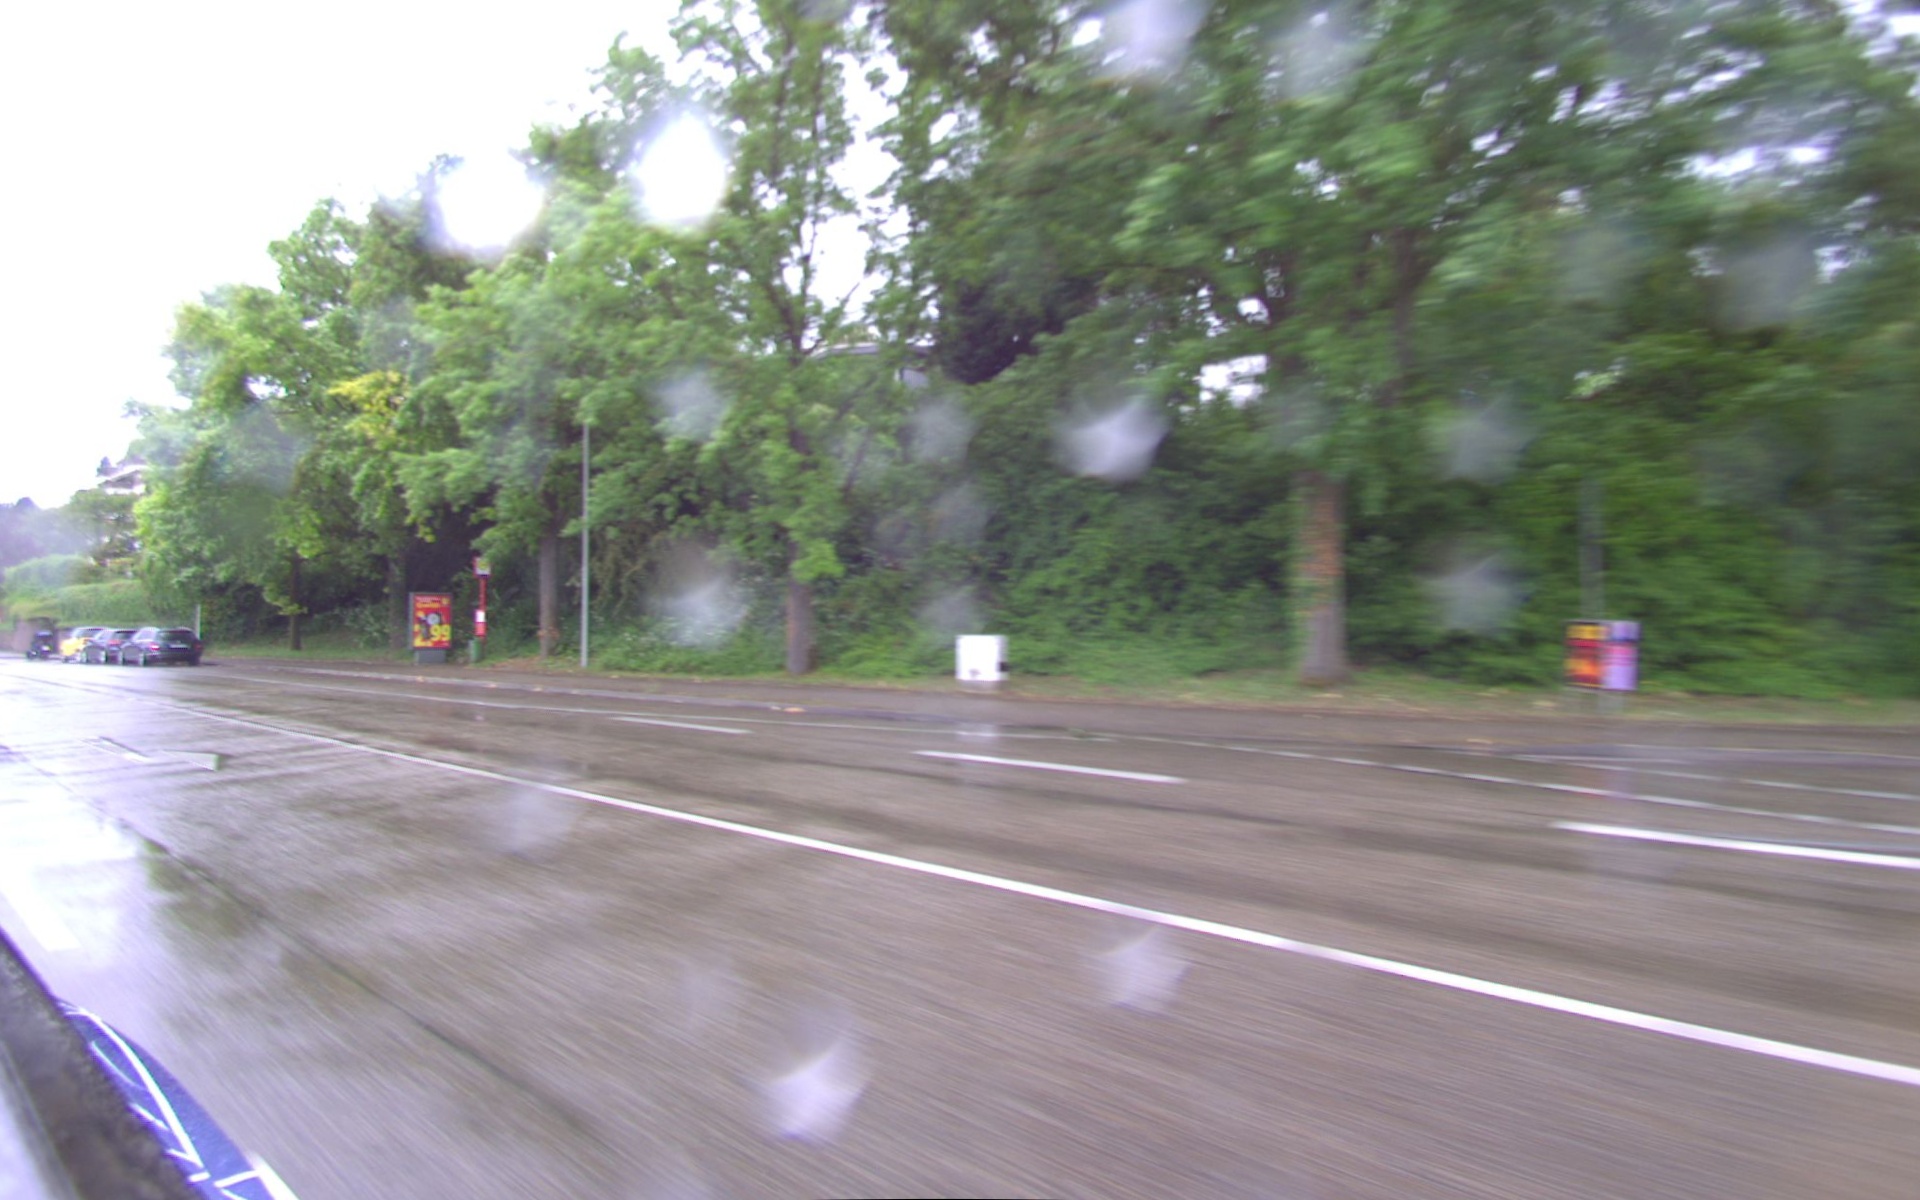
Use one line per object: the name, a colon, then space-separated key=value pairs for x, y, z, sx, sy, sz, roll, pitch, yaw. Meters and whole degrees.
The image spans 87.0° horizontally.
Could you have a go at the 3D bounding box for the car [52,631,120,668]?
car: x=-38.180 y=2.137 z=44.206 sx=2.809 sy=1.549 sz=1.423 roll=-1 pitch=-2 yaw=31

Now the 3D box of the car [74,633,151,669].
car: x=-34.898 y=2.063 z=41.650 sx=4.094 sy=1.430 sz=1.421 roll=-1 pitch=-2 yaw=35

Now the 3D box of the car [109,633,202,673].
car: x=-30.726 y=1.974 z=38.596 sx=4.734 sy=1.430 sz=1.671 roll=-2 pitch=-2 yaw=38

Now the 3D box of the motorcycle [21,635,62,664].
motorcycle: x=-43.837 y=2.366 z=48.277 sx=2.492 sy=1.351 sz=0.830 roll=-1 pitch=-2 yaw=34
